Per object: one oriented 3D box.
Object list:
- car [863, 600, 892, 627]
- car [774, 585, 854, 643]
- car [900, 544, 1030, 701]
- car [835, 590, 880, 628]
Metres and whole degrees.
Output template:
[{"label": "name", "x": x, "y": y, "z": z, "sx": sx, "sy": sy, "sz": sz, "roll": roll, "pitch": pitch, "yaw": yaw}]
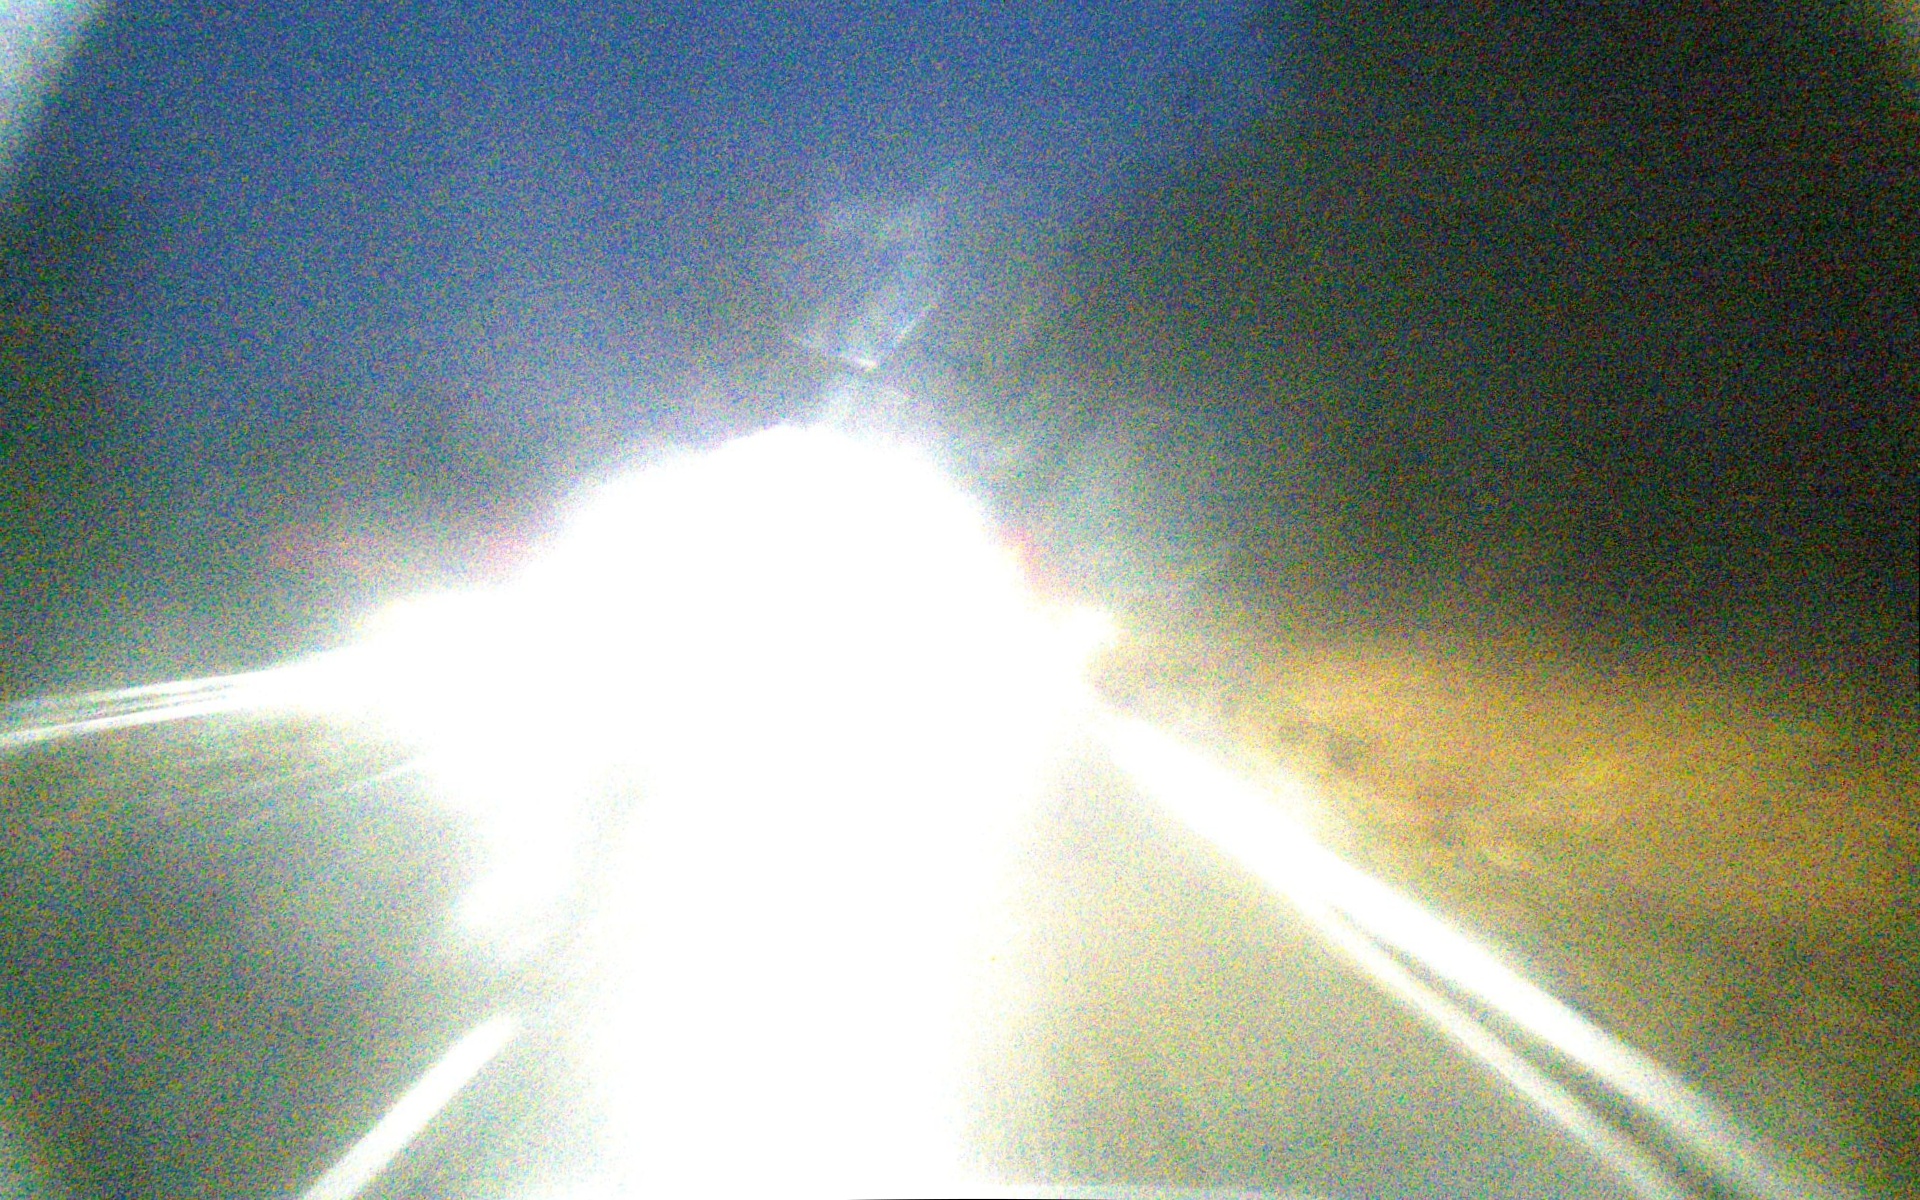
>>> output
[{"label": "car", "x": -5.428, "y": 0.876, "z": 109.247, "sx": 1.822, "sy": 1.666, "sz": 4.142, "roll": 0, "pitch": 0, "yaw": -1}, {"label": "car", "x": -4.036, "y": 0.371, "z": 46.384, "sx": 1.935, "sy": 1.542, "sz": 4.346, "roll": 0, "pitch": 0, "yaw": -1}, {"label": "car", "x": 0.058, "y": 0.312, "z": 30.456, "sx": 2.137, "sy": 2.601, "sz": 4.508, "roll": 2, "pitch": 2, "yaw": -1}, {"label": "car", "x": -4.349, "y": 0.364, "z": 70.772, "sx": 1.749, "sy": 1.536, "sz": 3.599, "roll": 1, "pitch": 0, "yaw": -1}]
